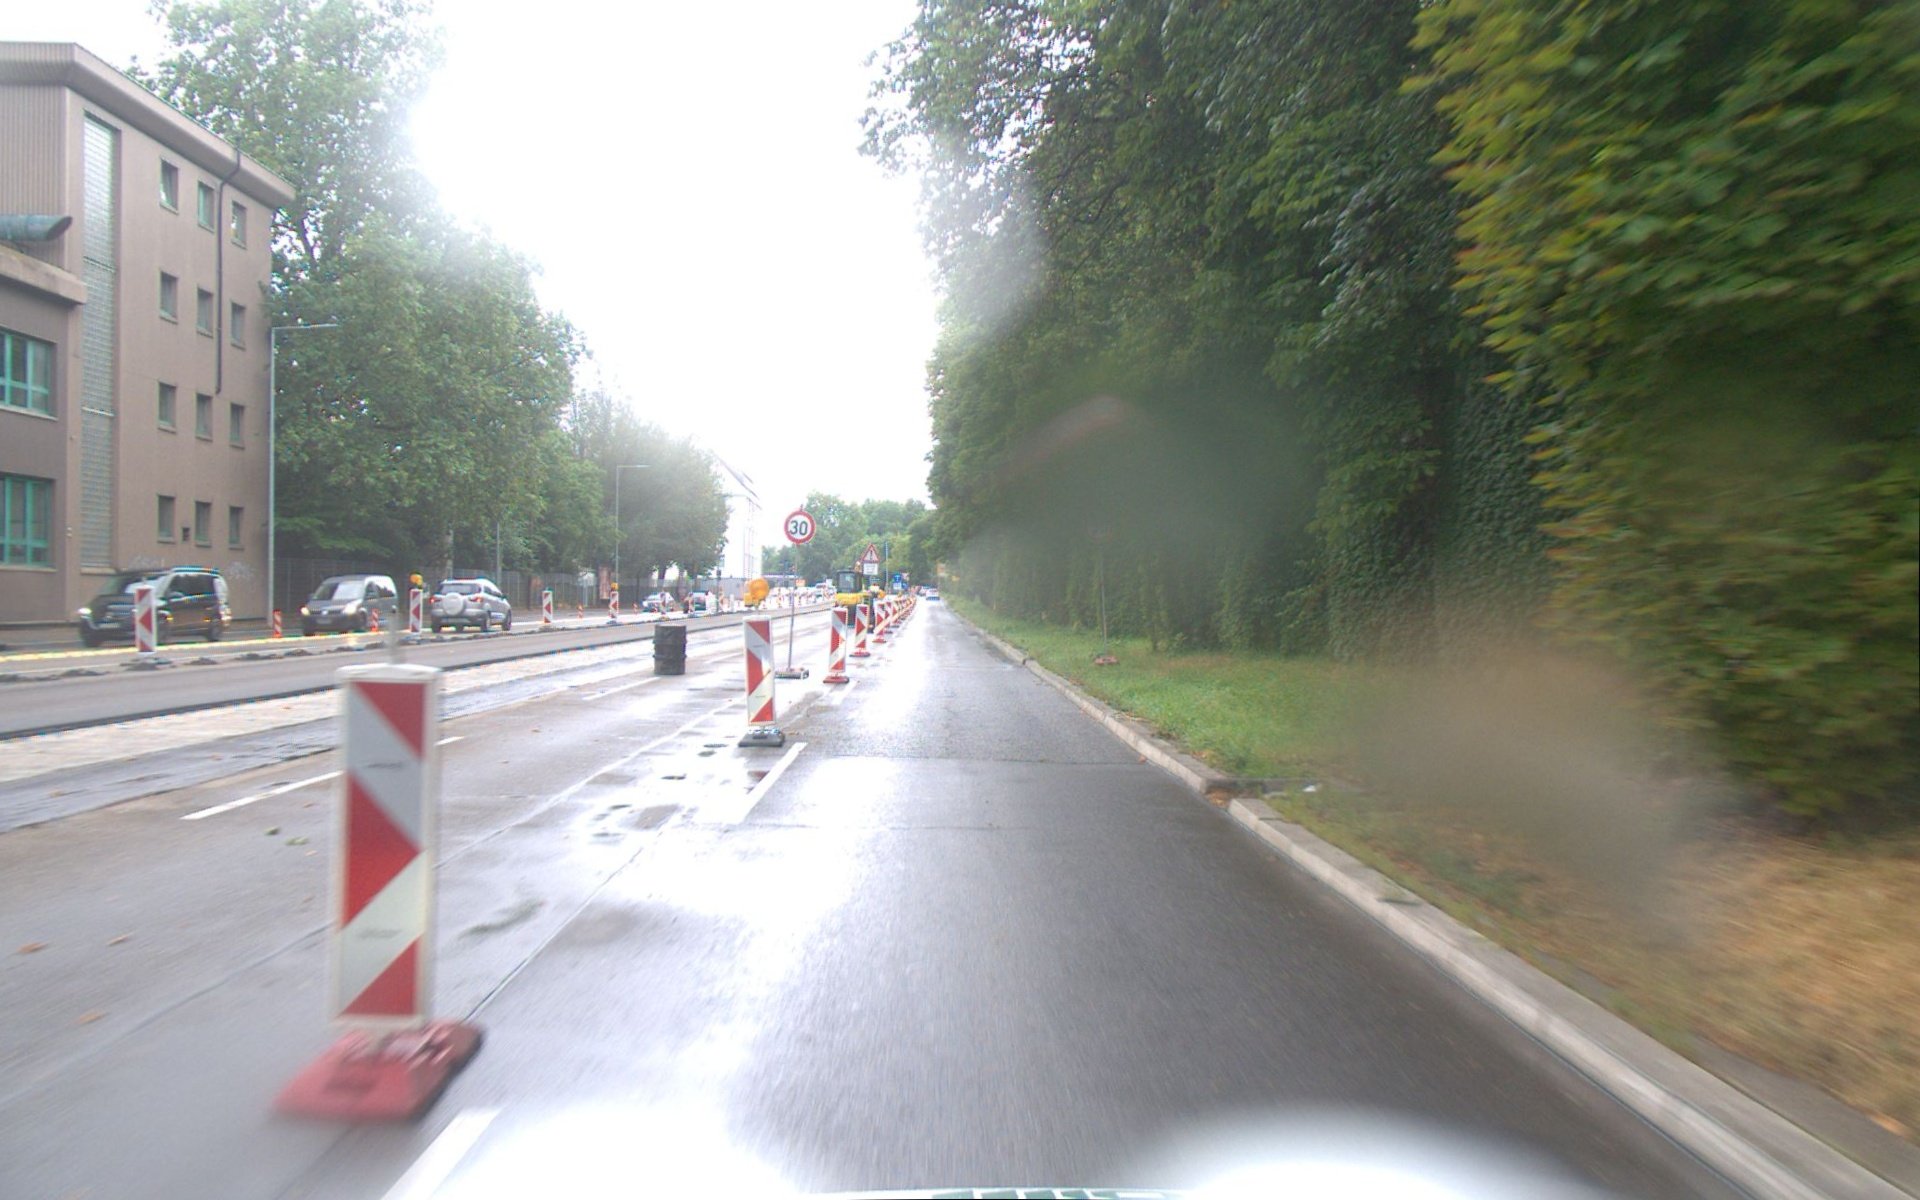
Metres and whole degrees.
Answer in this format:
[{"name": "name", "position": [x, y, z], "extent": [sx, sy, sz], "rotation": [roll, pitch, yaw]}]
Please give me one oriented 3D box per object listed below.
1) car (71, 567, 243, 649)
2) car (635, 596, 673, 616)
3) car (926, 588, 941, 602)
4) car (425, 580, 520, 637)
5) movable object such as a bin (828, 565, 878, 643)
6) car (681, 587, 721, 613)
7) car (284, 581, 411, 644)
[{"name": "car", "position": [-20.690, 0.216, 42.915], "extent": [1.953, 1.952, 5.361], "rotation": [1, 0, -2]}, {"name": "car", "position": [-22.523, 0.435, 121.872], "extent": [1.953, 1.371, 4.790], "rotation": [1, 0, -1]}, {"name": "car", "position": [-3.500, -0.646, 216.666], "extent": [1.953, 1.702, 3.999], "rotation": [1, 0, -1]}, {"name": "car", "position": [-15.256, 0.258, 51.944], "extent": [1.817, 1.677, 3.999], "rotation": [1, 0, -1]}, {"name": "movable object such as a bin", "position": [-4.924, 0.208, 76.977], "extent": [1.953, 3.426, 5.981], "rotation": [1, -1, -1]}, {"name": "car", "position": [-16.366, -0.004, 104.578], "extent": [1.953, 1.545, 3.999], "rotation": [1, 0, -1]}, {"name": "car", "position": [-18.778, 0.380, 50.973], "extent": [1.952, 1.811, 4.954], "rotation": [1, 0, 1]}]
